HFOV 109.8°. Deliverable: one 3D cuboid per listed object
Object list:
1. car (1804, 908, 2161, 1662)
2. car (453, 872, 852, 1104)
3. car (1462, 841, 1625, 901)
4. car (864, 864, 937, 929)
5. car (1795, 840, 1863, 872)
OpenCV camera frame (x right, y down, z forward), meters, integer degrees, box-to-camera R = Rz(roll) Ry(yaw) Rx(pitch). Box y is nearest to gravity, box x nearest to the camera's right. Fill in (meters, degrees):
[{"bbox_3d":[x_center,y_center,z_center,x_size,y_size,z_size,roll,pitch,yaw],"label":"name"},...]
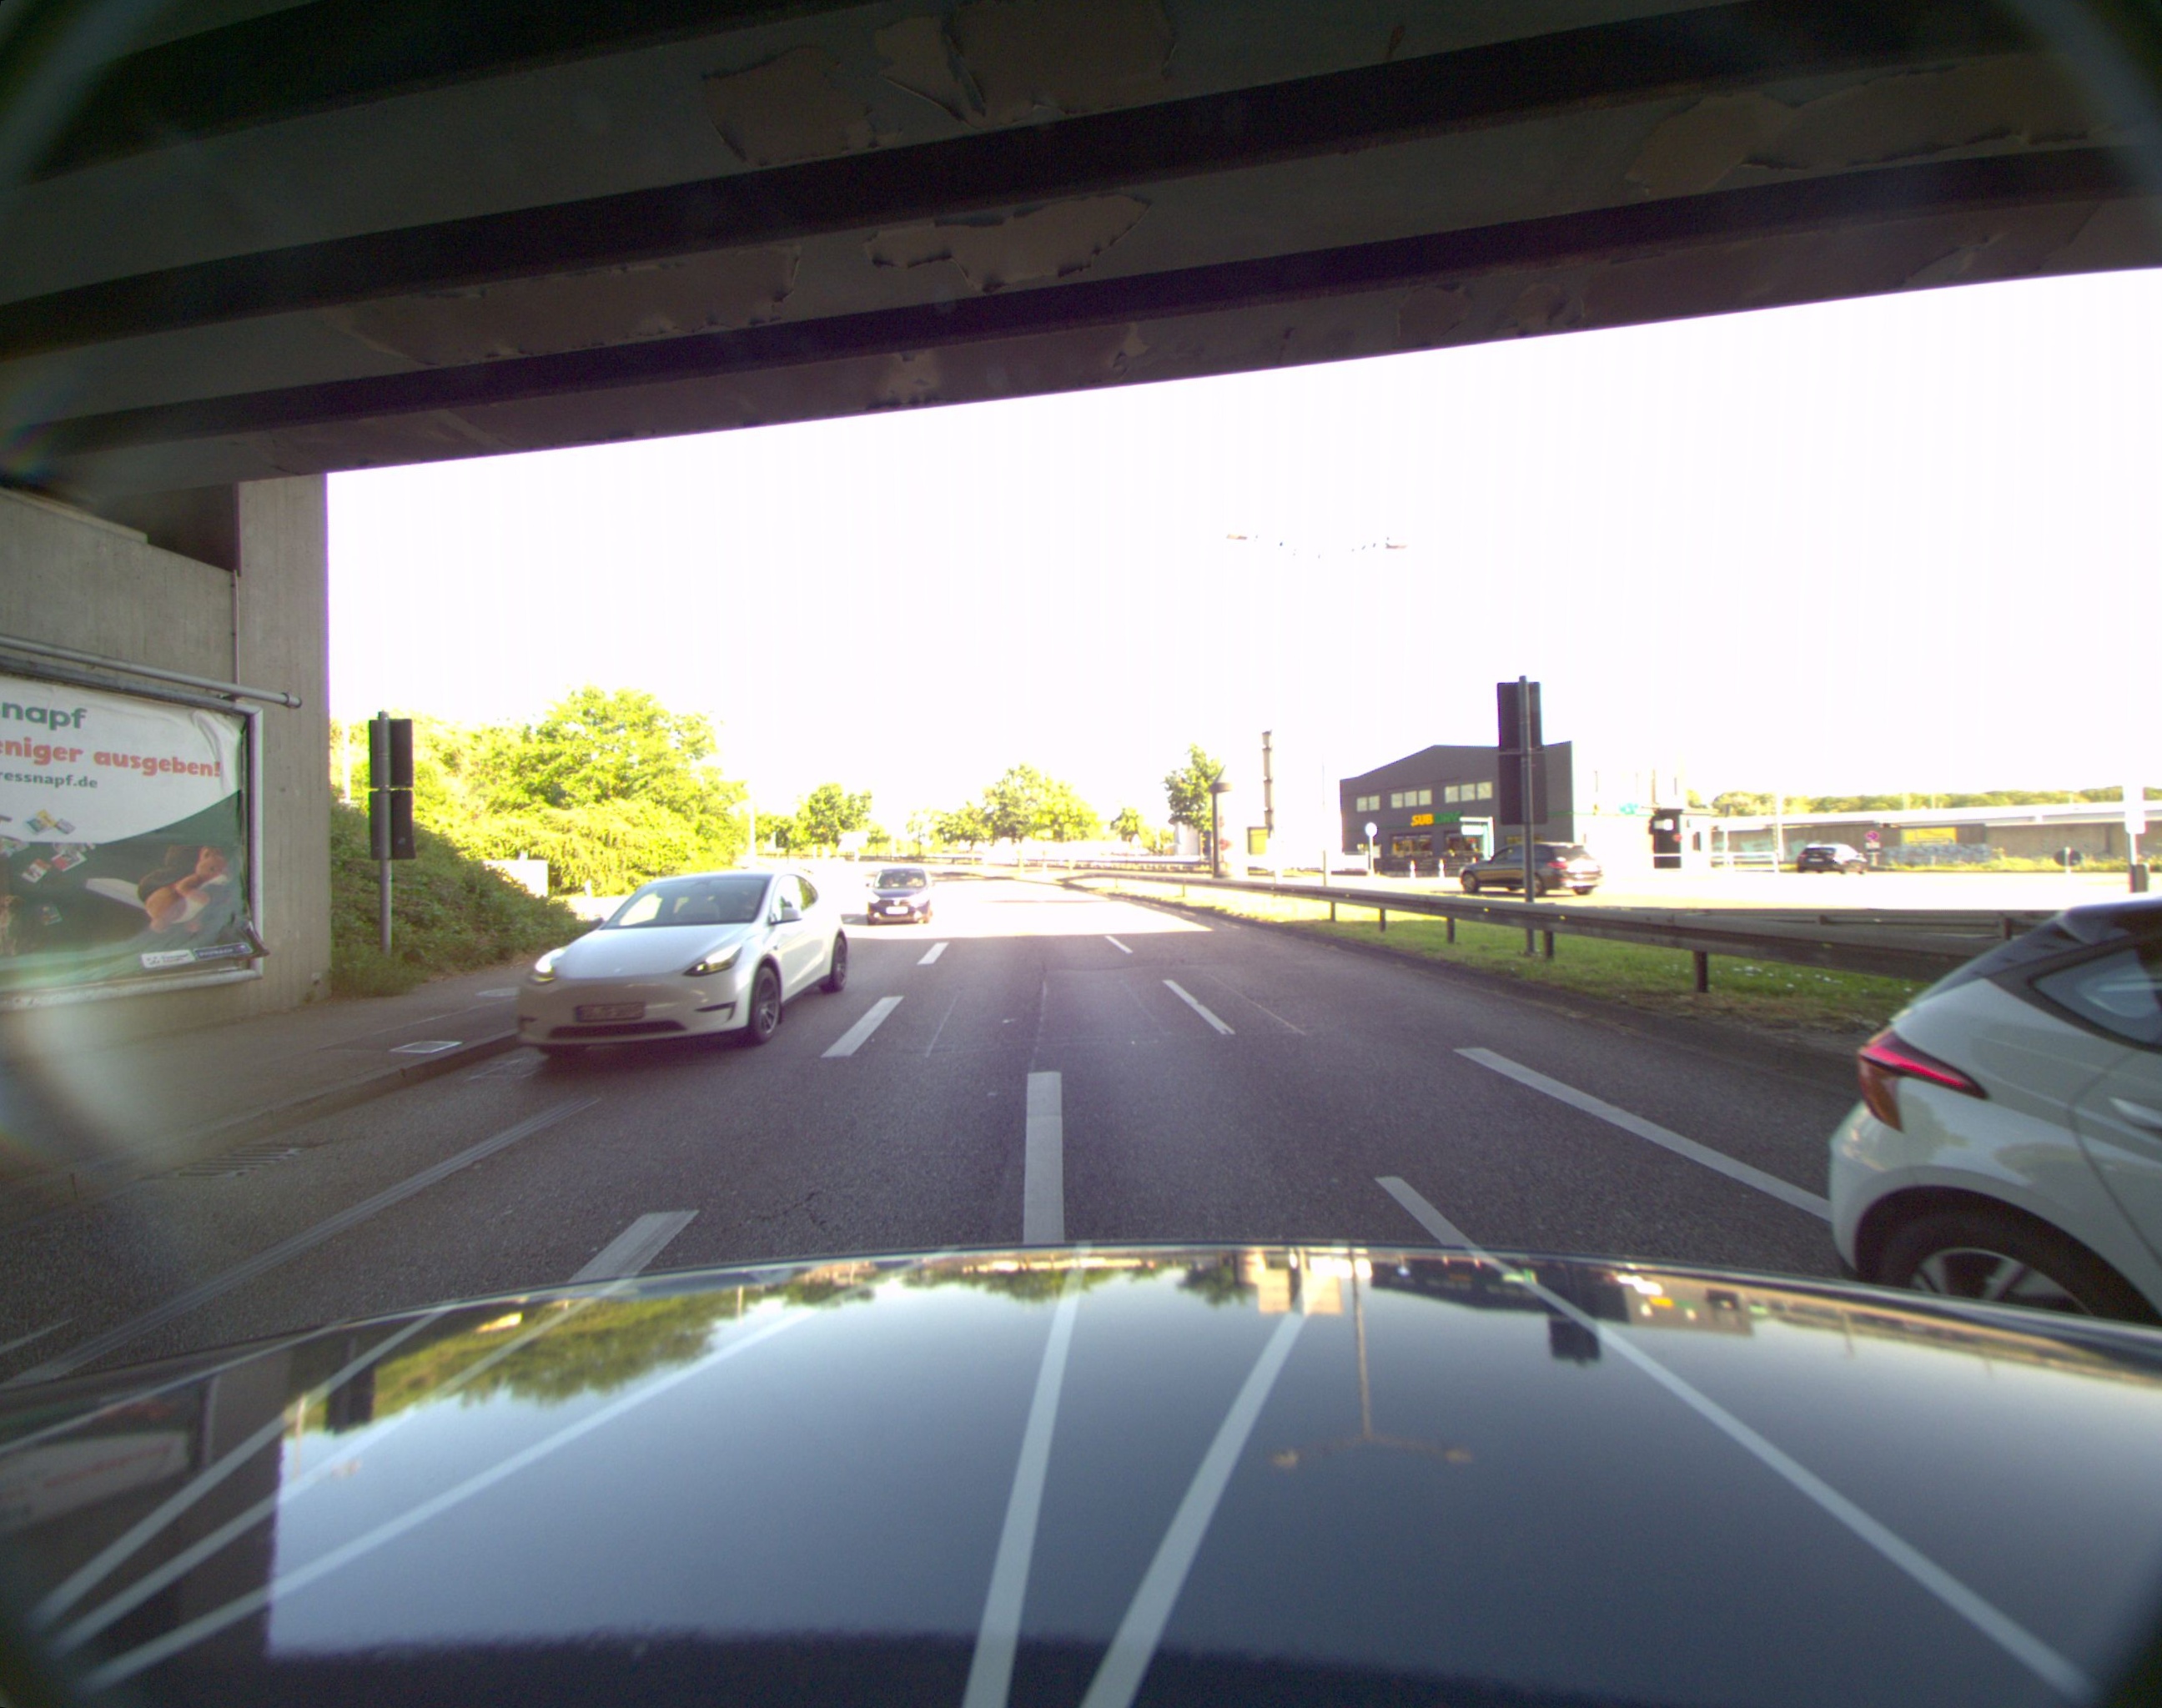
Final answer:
[{"bbox_3d":[2.981,0.843,0.245,1.737,1.395,3.871,-2,0,-1],"label":"car"},{"bbox_3d":[-3.980,1.086,8.128,1.999,1.542,4.418,-3,1,-5],"label":"car"},{"bbox_3d":[14.090,0.470,23.491,1.857,1.607,4.360,-3,1,-10],"label":"car"},{"bbox_3d":[-5.252,1.174,22.493,1.780,1.591,4.101,-3,1,-10],"label":"car"},{"bbox_3d":[38.276,0.091,38.836,4.007,1.434,1.878,-3,1,-37],"label":"car"}]
